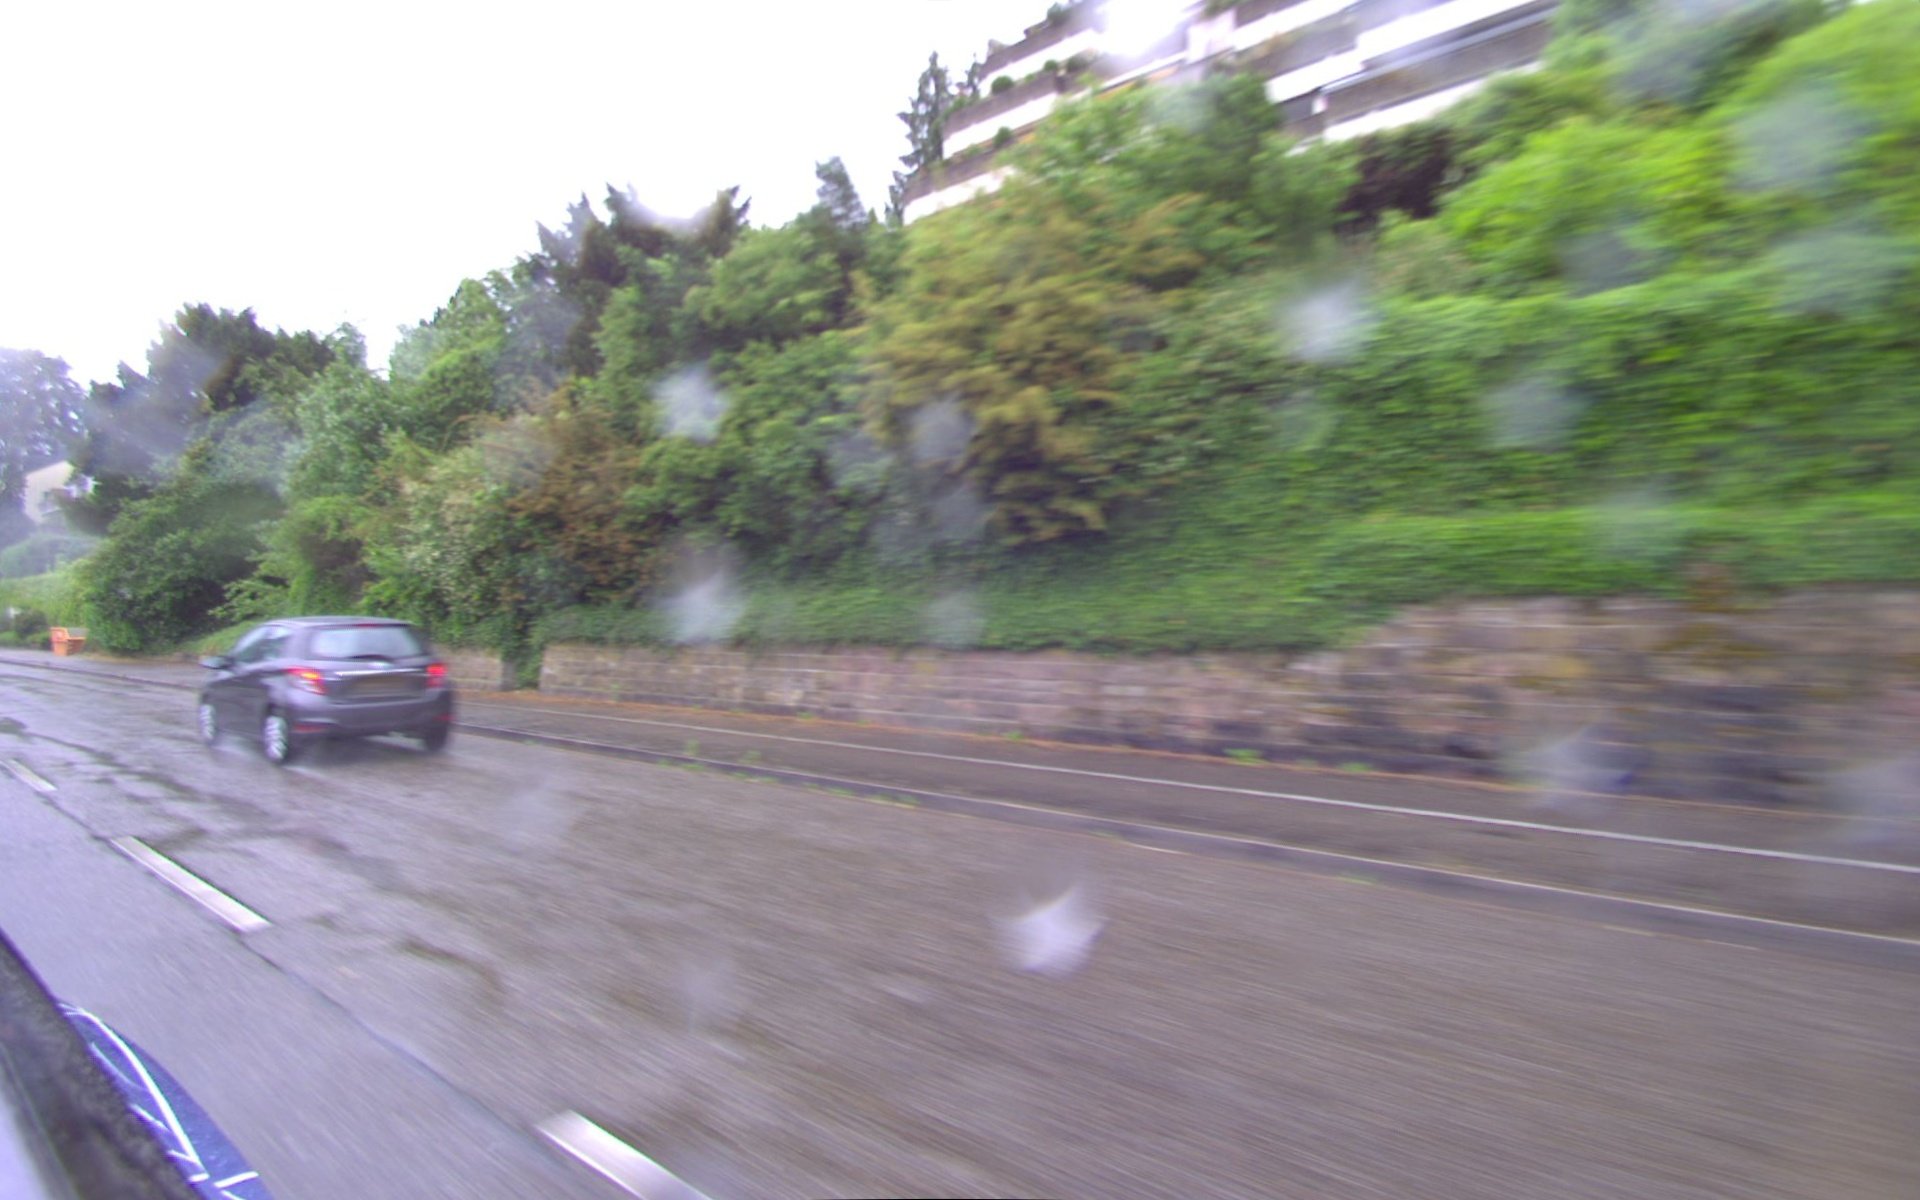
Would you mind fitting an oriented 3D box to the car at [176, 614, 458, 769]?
[{"bbox_3d":[-7.253,0.918,11.293,3.702,1.453,1.576,-1,-3,40],"label":"car"}]
